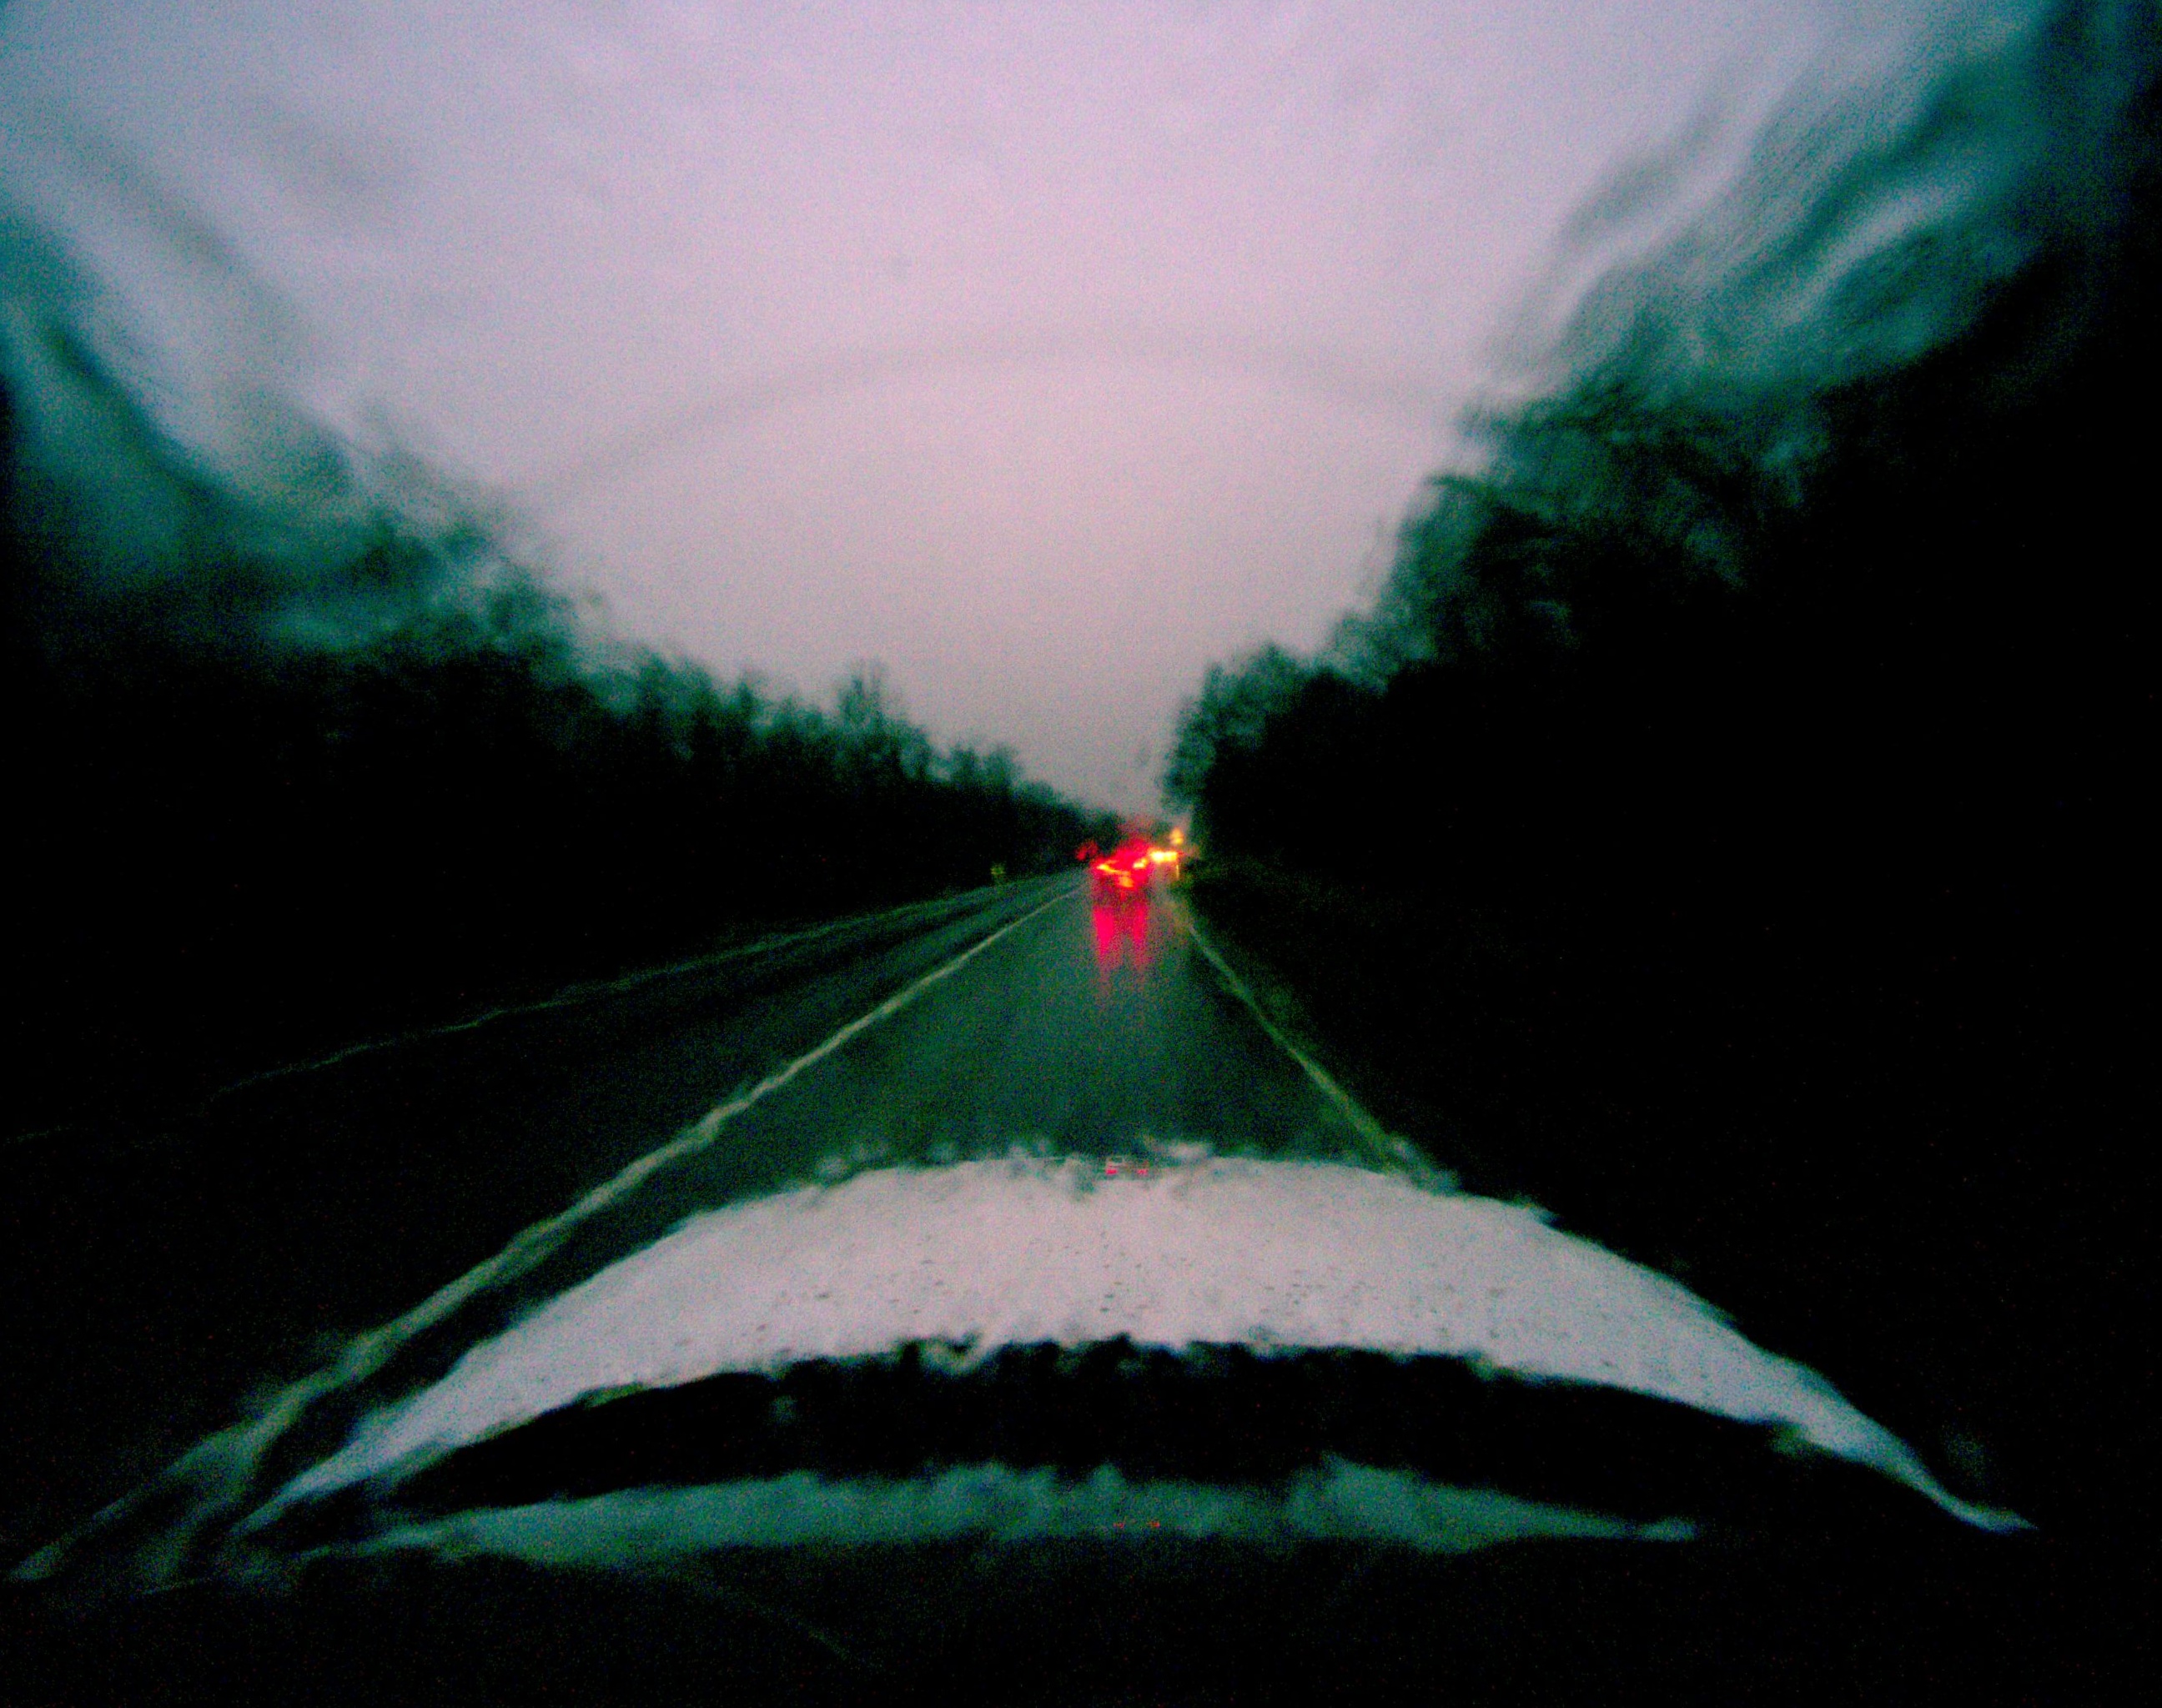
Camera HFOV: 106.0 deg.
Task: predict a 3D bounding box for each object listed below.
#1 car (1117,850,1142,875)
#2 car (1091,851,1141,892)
[{"bbox_3d":[3.538,0.596,60.074,1.672,1.675,4.100,-2,0,2],"label":"car"},{"bbox_3d":[1.388,0.616,30.549,1.671,1.389,4.103,-2,0,4],"label":"car"}]
